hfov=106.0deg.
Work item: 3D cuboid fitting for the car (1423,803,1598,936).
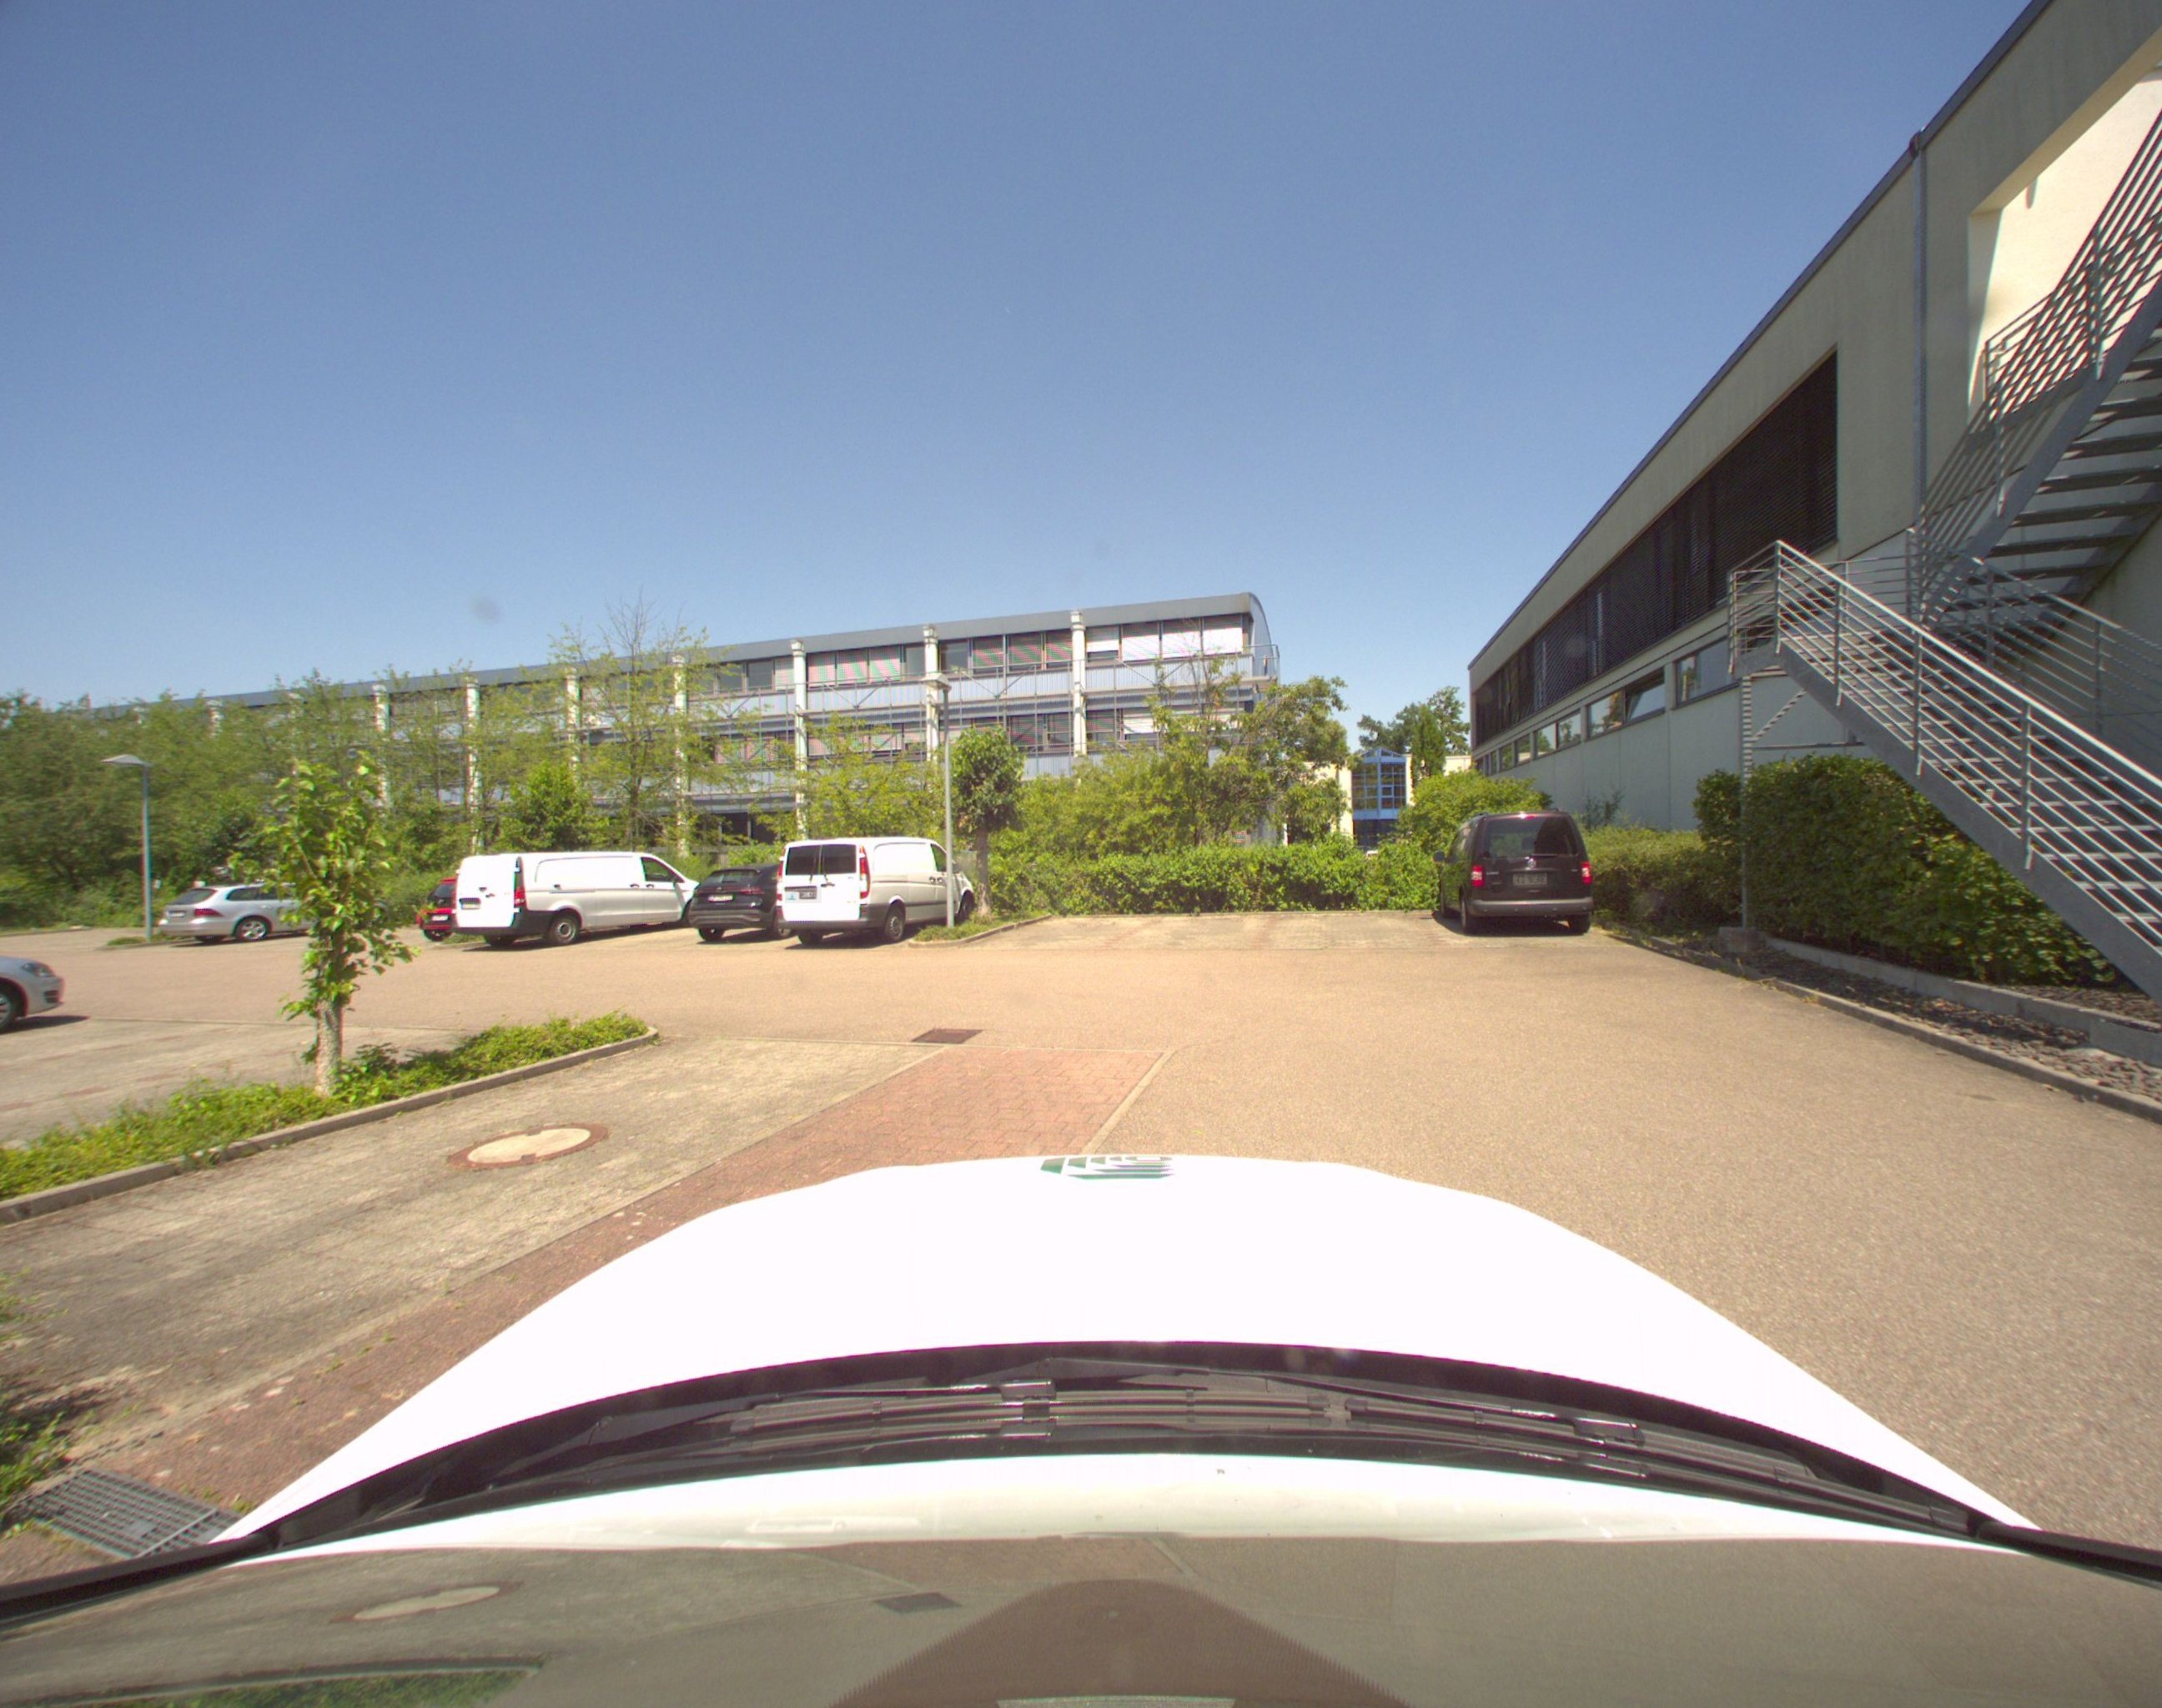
[{"bbox_3d":[6.915,0.198,13.556,1.730,1.837,4.017,-2,0,16],"label":"car"}]

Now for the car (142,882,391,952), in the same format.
[{"bbox_3d":[-21.125,1.579,21.382,1.852,1.406,4.191,-2,1,19],"label":"car"}]

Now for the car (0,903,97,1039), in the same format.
[{"bbox_3d":[-13.495,1.403,7.980,1.843,1.472,4.503,-2,0,16],"label":"car"}]

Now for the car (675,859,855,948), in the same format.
[{"bbox_3d":[-6.436,0.943,17.113,1.745,1.476,4.009,-3,1,7],"label":"car"}]

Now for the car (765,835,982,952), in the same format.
[{"bbox_3d":[-3.795,0.622,15.985,1.899,1.905,4.828,-3,1,15],"label":"car"}]

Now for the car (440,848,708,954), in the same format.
[{"bbox_3d":[-10.761,0.887,17.819,1.866,1.891,4.826,-2,1,18],"label":"car"}]

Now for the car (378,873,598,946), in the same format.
[{"bbox_3d":[-14.276,1.286,19.912,1.768,1.441,4.020,-2,0,19],"label":"car"}]
